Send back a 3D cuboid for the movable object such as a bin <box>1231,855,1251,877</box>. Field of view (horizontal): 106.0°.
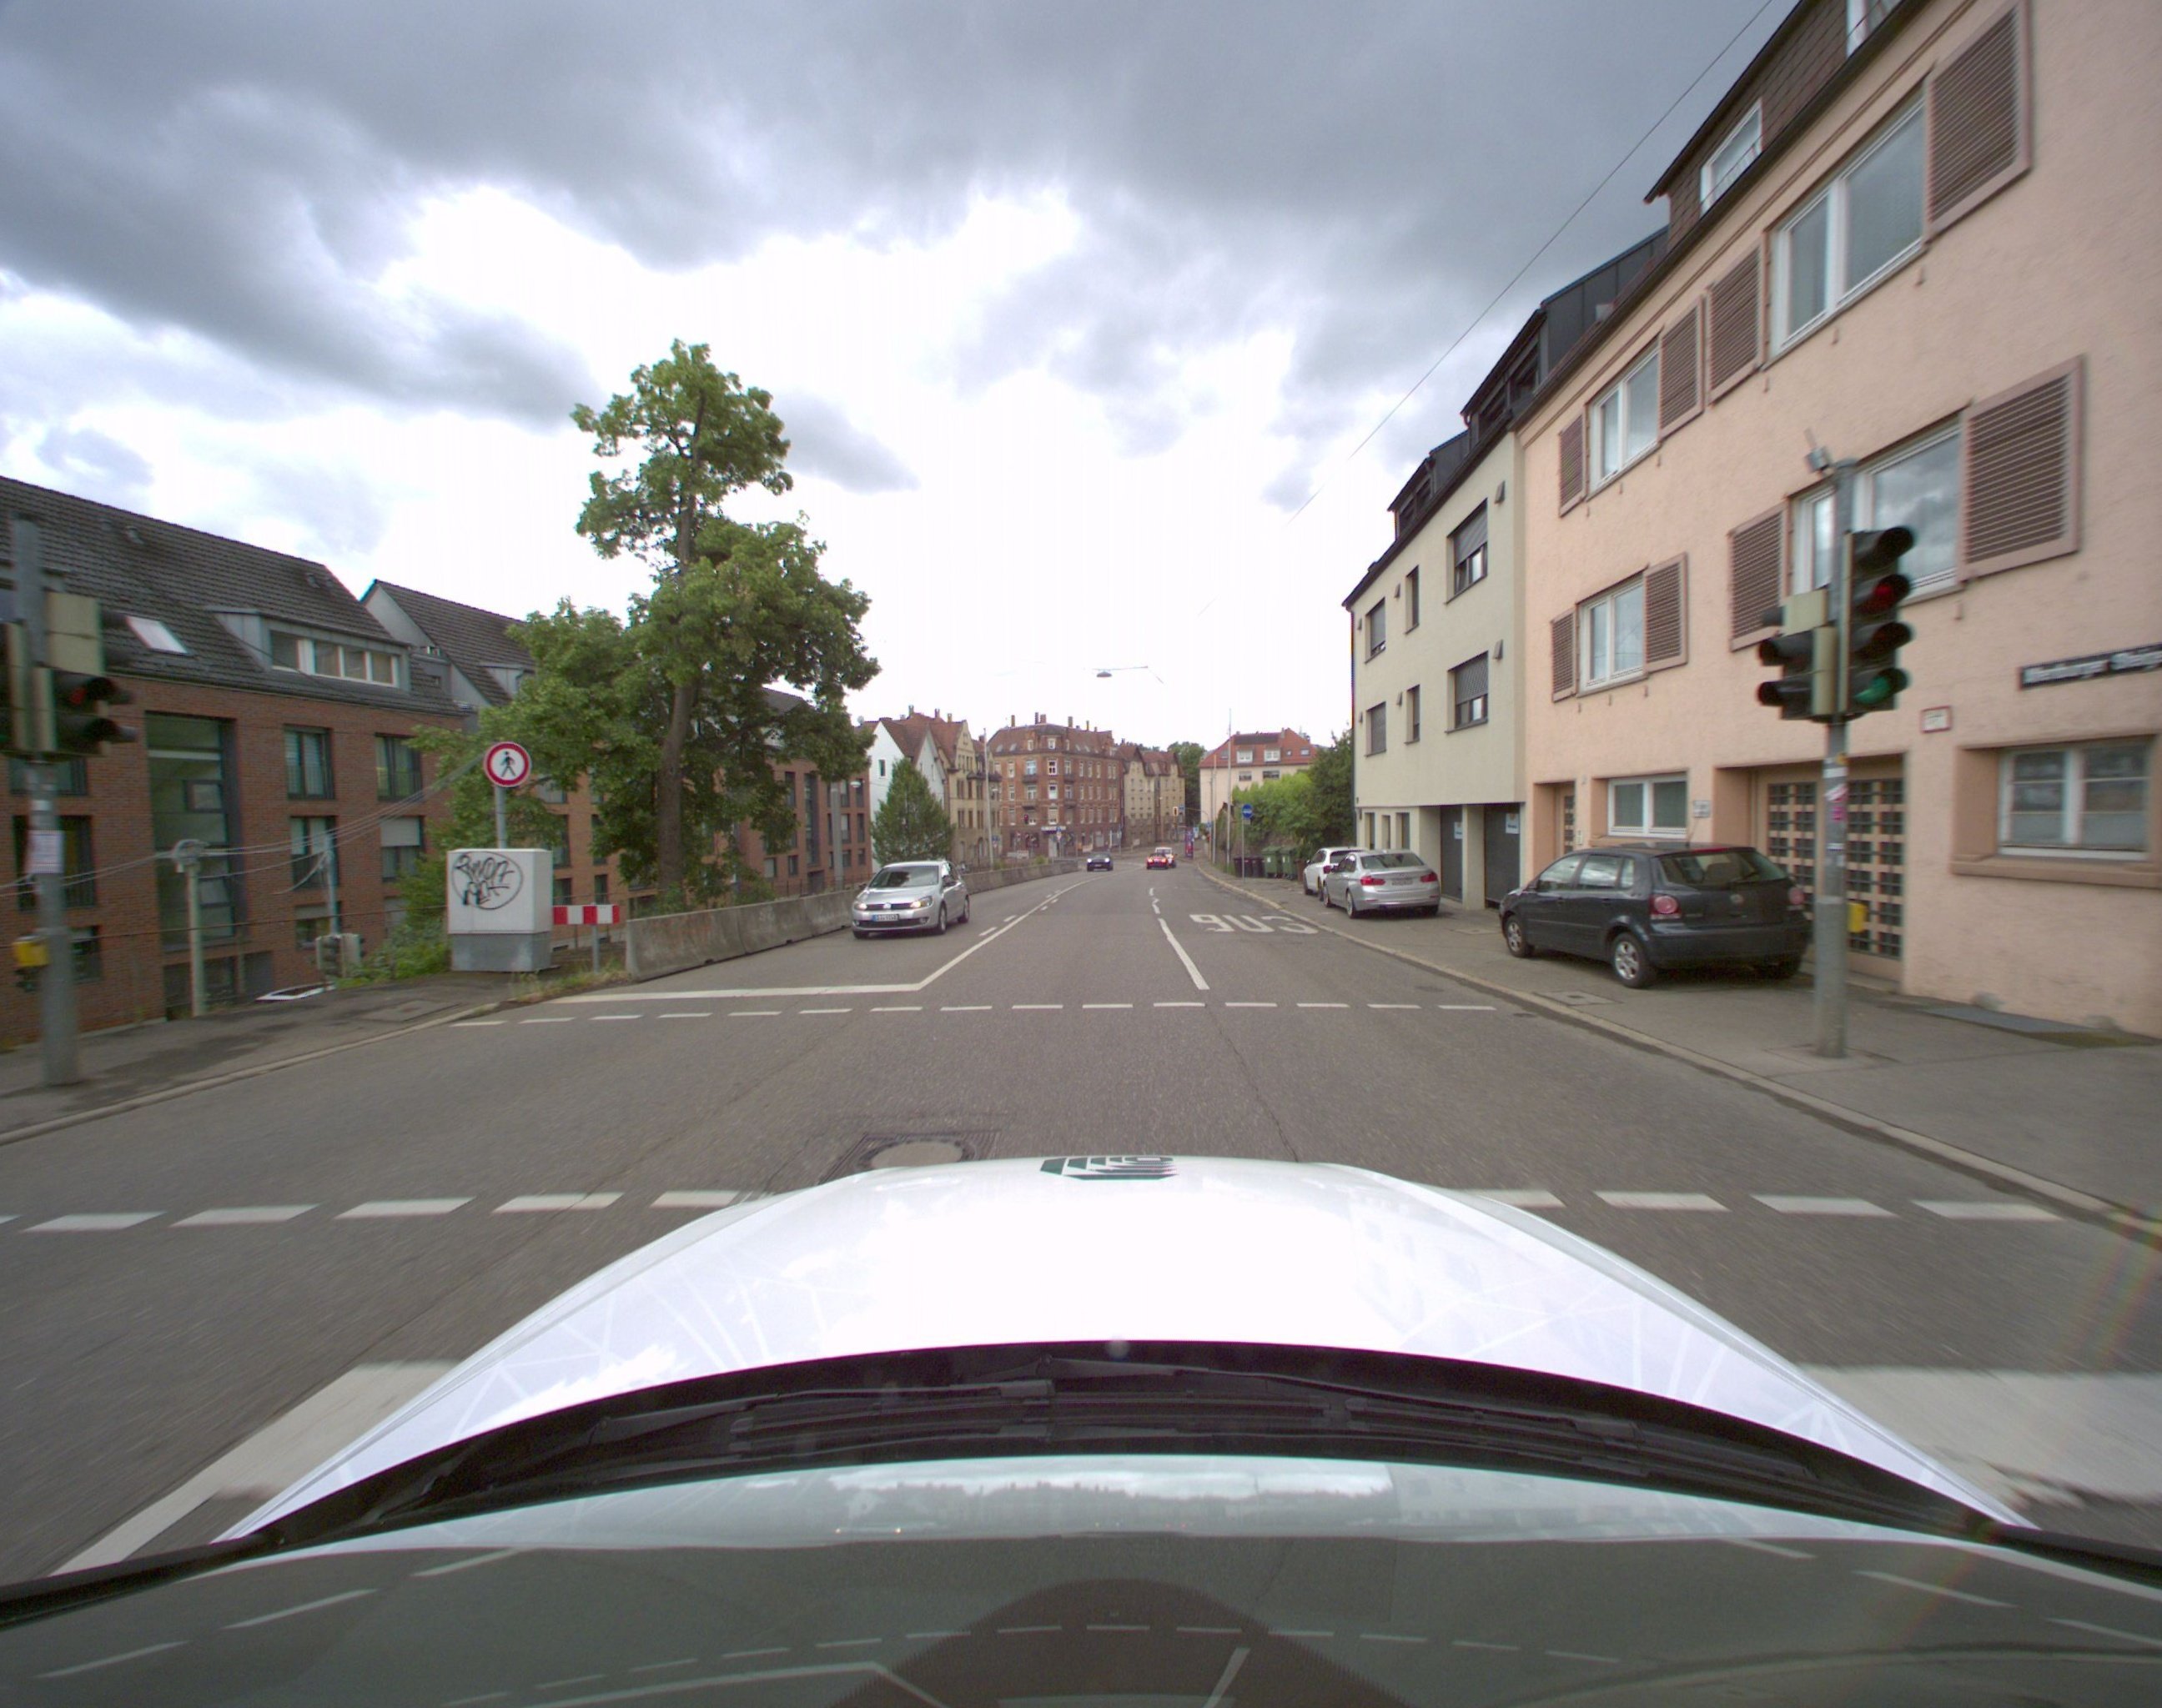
[{"bbox_3d":[7.963,0.579,40.487,0.743,1.058,0.676,-1,-1,-12],"label":"movable object such as a bin"}]

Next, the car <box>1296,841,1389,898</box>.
[{"bbox_3d":[7.485,0.420,23.698,1.785,1.423,4.012,-3,0,7],"label":"car"}]

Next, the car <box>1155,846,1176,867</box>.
[{"bbox_3d":[8.009,0.260,76.904,1.899,1.884,4.008,0,0,7],"label":"car"}]

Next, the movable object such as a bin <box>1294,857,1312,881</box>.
[{"bbox_3d":[9.107,0.607,33.413,0.592,0.942,0.641,-2,-1,4],"label":"movable object such as a bin"}]

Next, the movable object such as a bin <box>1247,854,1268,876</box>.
[{"bbox_3d":[8.480,0.530,39.089,0.743,1.058,0.676,-1,-1,-12],"label":"movable object such as a bin"}]

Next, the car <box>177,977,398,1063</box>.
[{"bbox_3d":[-21.653,4.479,22.477,1.783,1.510,4.011,-3,0,10],"label":"car"}]

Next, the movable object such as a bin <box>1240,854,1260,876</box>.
[{"bbox_3d":[8.275,0.552,39.836,0.743,1.058,0.676,-1,-1,-12],"label":"movable object such as a bin"}]

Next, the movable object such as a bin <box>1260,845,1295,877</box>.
[{"bbox_3d":[9.026,0.331,37.477,1.048,1.445,1.412,-1,-1,-12],"label":"movable object such as a bin"}]

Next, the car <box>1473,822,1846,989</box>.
[{"bbox_3d":[6.484,0.517,9.788,1.675,1.451,4.003,-5,-1,3],"label":"car"}]

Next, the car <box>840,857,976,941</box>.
[{"bbox_3d":[-3.442,0.833,17.028,1.713,1.445,4.161,-3,0,2],"label":"car"}]

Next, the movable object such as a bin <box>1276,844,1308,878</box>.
[{"bbox_3d":[9.243,0.327,35.734,1.044,1.445,1.205,-2,-1,1],"label":"movable object such as a bin"}]

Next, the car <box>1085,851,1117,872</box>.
[{"bbox_3d":[1.704,0.588,68.214,1.970,1.574,4.387,-3,0,10],"label":"car"}]

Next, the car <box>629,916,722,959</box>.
[{"bbox_3d":[-18.942,3.880,38.287,1.783,1.510,4.012,-3,0,10],"label":"car"}]

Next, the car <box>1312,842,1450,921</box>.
[{"bbox_3d":[6.667,0.529,18.677,1.785,1.451,4.726,-5,0,6],"label":"car"}]

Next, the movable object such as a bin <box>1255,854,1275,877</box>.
[{"bbox_3d":[8.696,0.527,38.446,0.710,1.058,0.545,-1,-1,-12],"label":"movable object such as a bin"}]

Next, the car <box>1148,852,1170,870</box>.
[{"bbox_3d":[6.742,0.579,70.071,1.806,1.430,4.008,0,0,7],"label":"car"}]

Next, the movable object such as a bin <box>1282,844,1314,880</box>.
[{"bbox_3d":[9.145,0.342,34.397,1.043,1.445,1.206,-2,-1,4],"label":"movable object such as a bin"}]
